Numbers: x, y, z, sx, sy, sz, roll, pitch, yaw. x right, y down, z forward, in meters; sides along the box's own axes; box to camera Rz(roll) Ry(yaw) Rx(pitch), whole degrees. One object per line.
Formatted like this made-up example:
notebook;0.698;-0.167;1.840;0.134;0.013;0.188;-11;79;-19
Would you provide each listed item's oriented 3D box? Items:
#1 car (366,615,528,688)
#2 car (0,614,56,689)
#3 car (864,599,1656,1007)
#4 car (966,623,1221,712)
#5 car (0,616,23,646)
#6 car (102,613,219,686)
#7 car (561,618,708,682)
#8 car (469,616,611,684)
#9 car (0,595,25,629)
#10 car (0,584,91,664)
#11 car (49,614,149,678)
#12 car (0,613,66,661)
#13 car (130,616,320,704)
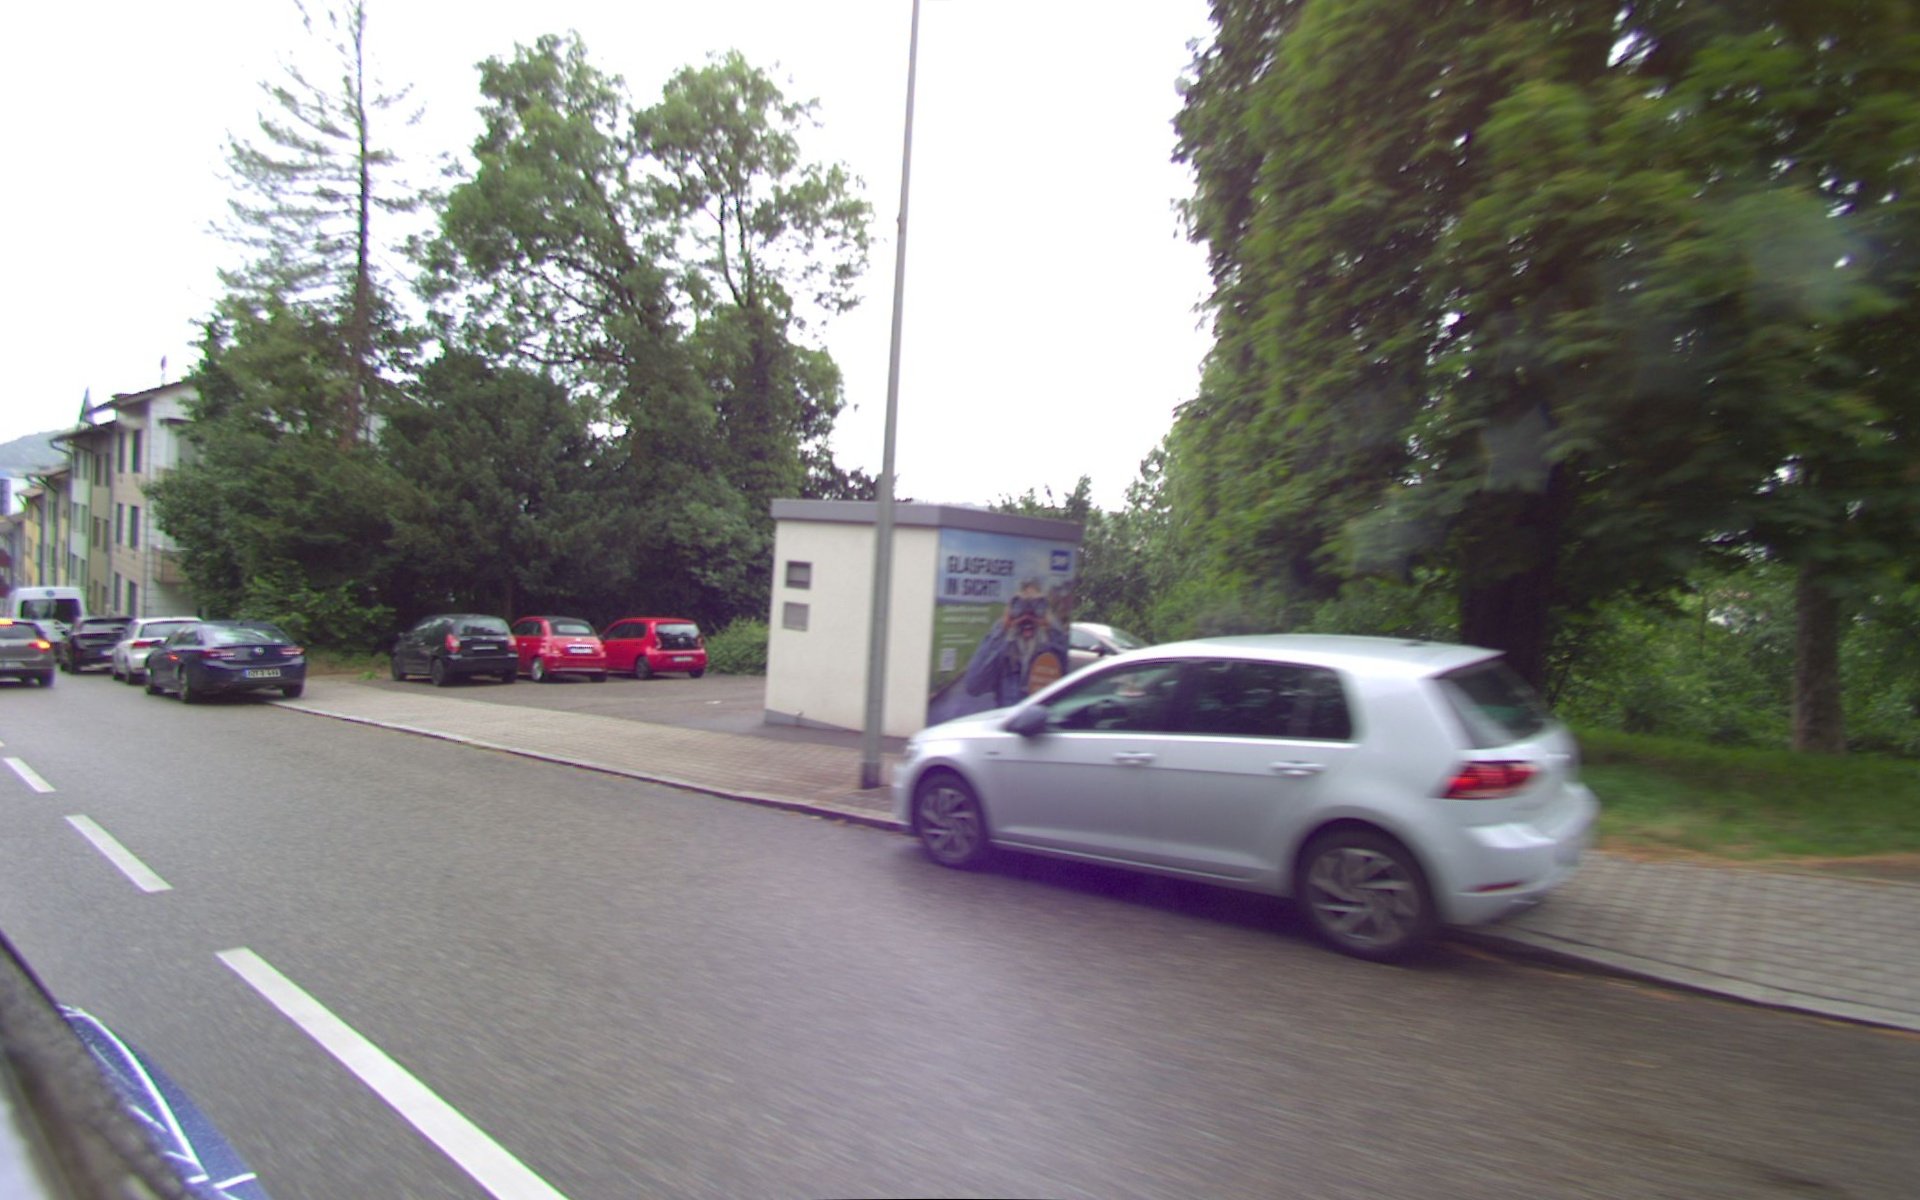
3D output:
car;-11.453;1.076;22.466;4.395;1.470;1.704;-1;-2;42
car;-20.873;1.072;21.693;3.999;1.502;1.742;-1;-3;42
car;1.559;0.888;6.169;4.237;1.624;1.866;-1;-4;41
car;2.423;1.167;18.956;4.390;1.470;1.926;-1;-2;38
car;-53.464;1.714;56.278;4.000;1.606;1.673;-1;-3;43
car;-19.069;1.133;24.077;4.150;1.581;1.637;-2;-3;44
car;-8.177;1.183;25.247;4.240;1.470;1.578;-1;-2;42
car;-9.905;1.132;23.749;3.773;1.470;1.604;-1;-2;42
car;-77.702;0.990;82.197;5.444;2.570;2.093;-1;-4;44
car;-32.269;0.857;35.482;5.444;2.570;2.093;-1;-4;44
car;-23.704;1.251;27.825;4.187;1.616;1.626;-1;-4;44
car;-36.873;1.434;39.796;4.883;1.753;1.945;-1;-4;42
car;-14.244;1.129;19.518;4.752;1.505;1.840;-1;-5;41
